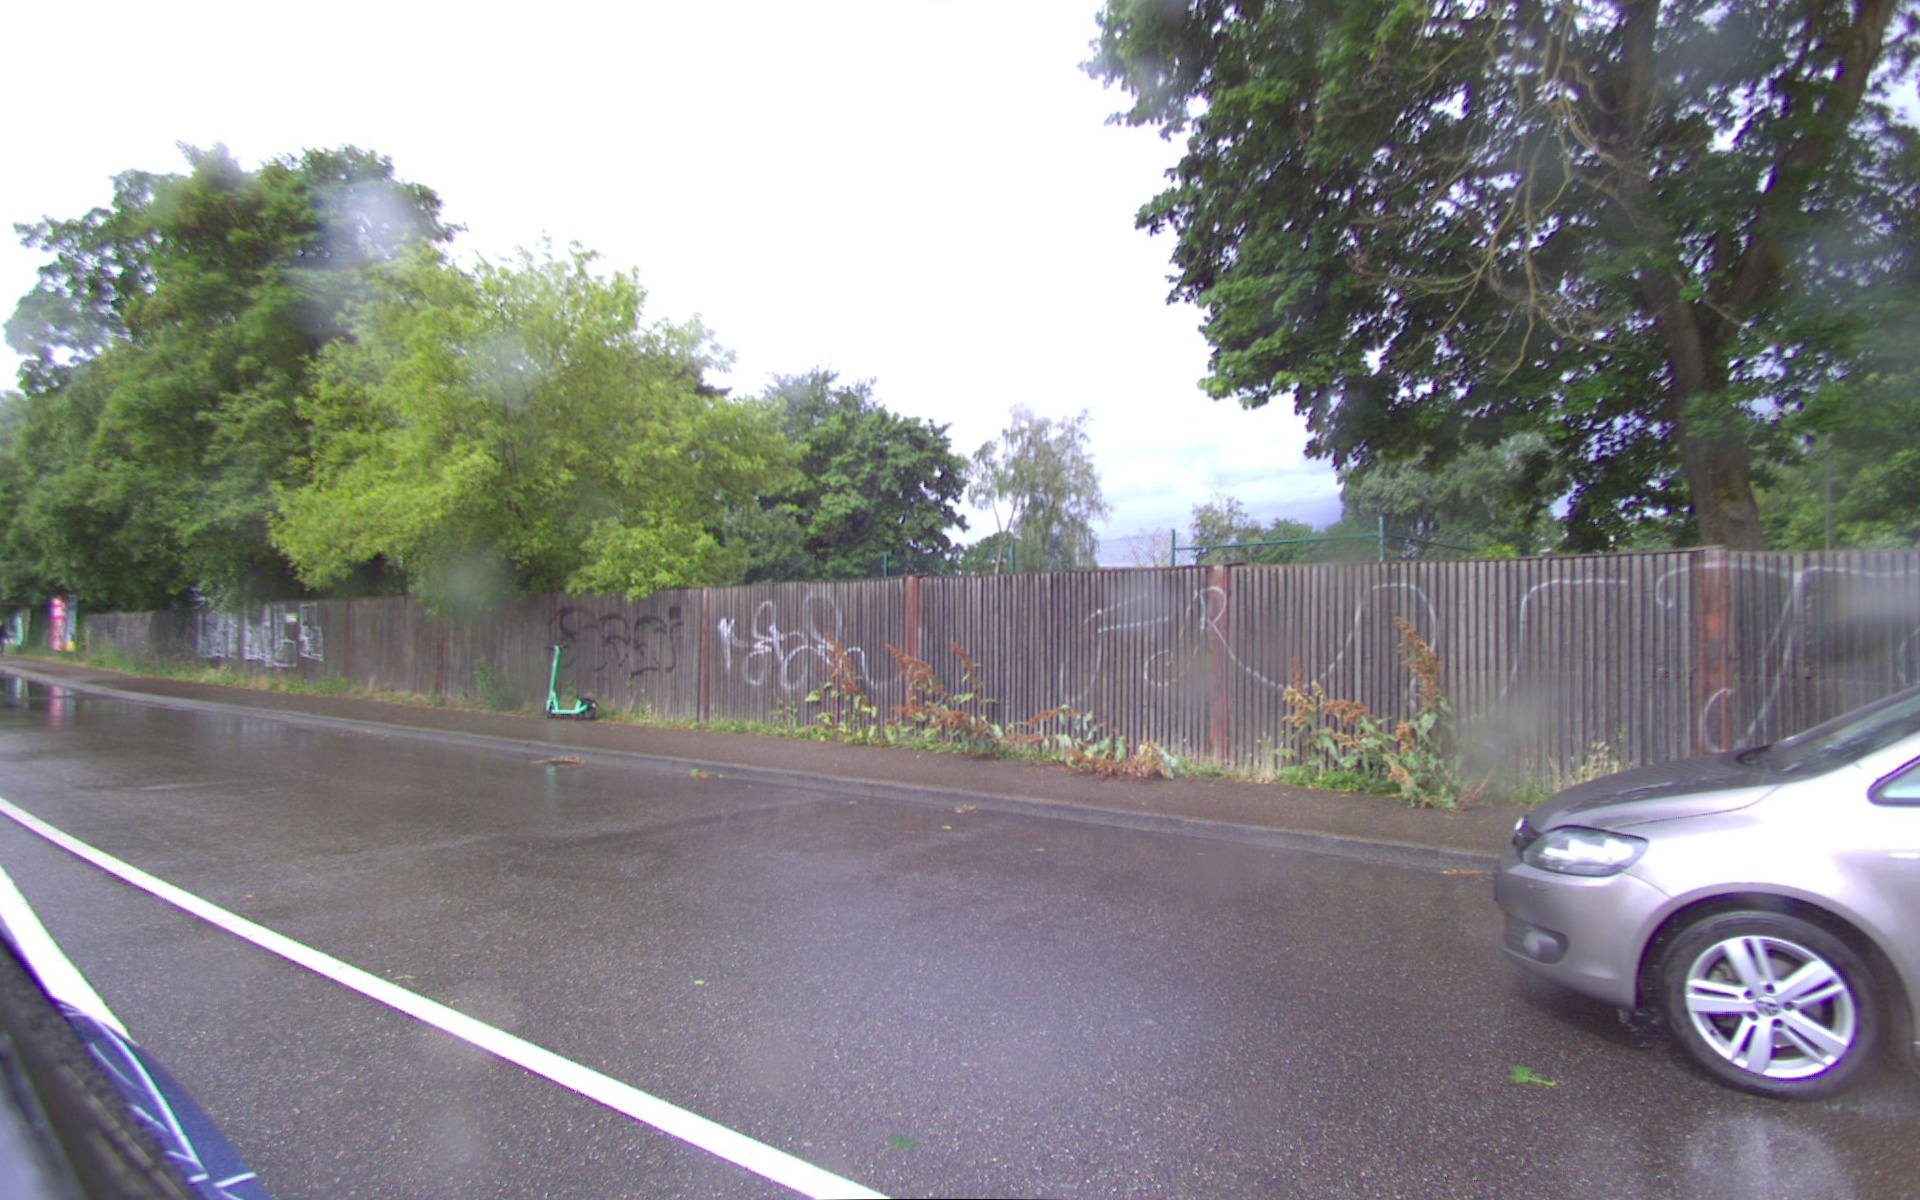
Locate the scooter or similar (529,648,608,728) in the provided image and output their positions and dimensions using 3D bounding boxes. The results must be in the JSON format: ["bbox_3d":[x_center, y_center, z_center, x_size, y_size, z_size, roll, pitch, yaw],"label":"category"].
[{"bbox_3d":[-6.099,1.341,15.748,1.205,1.171,0.557,-1,-2,34],"label":"scooter or similar"}]

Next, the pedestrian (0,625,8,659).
[{"bbox_3d":[-50.277,2.188,52.750,0.644,1.783,0.830,-2,-3,41],"label":"pedestrian"}]

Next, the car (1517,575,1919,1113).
[{"bbox_3d":[4.276,0.743,3.027,4.415,1.564,1.765,-1,-5,35],"label":"car"}]
